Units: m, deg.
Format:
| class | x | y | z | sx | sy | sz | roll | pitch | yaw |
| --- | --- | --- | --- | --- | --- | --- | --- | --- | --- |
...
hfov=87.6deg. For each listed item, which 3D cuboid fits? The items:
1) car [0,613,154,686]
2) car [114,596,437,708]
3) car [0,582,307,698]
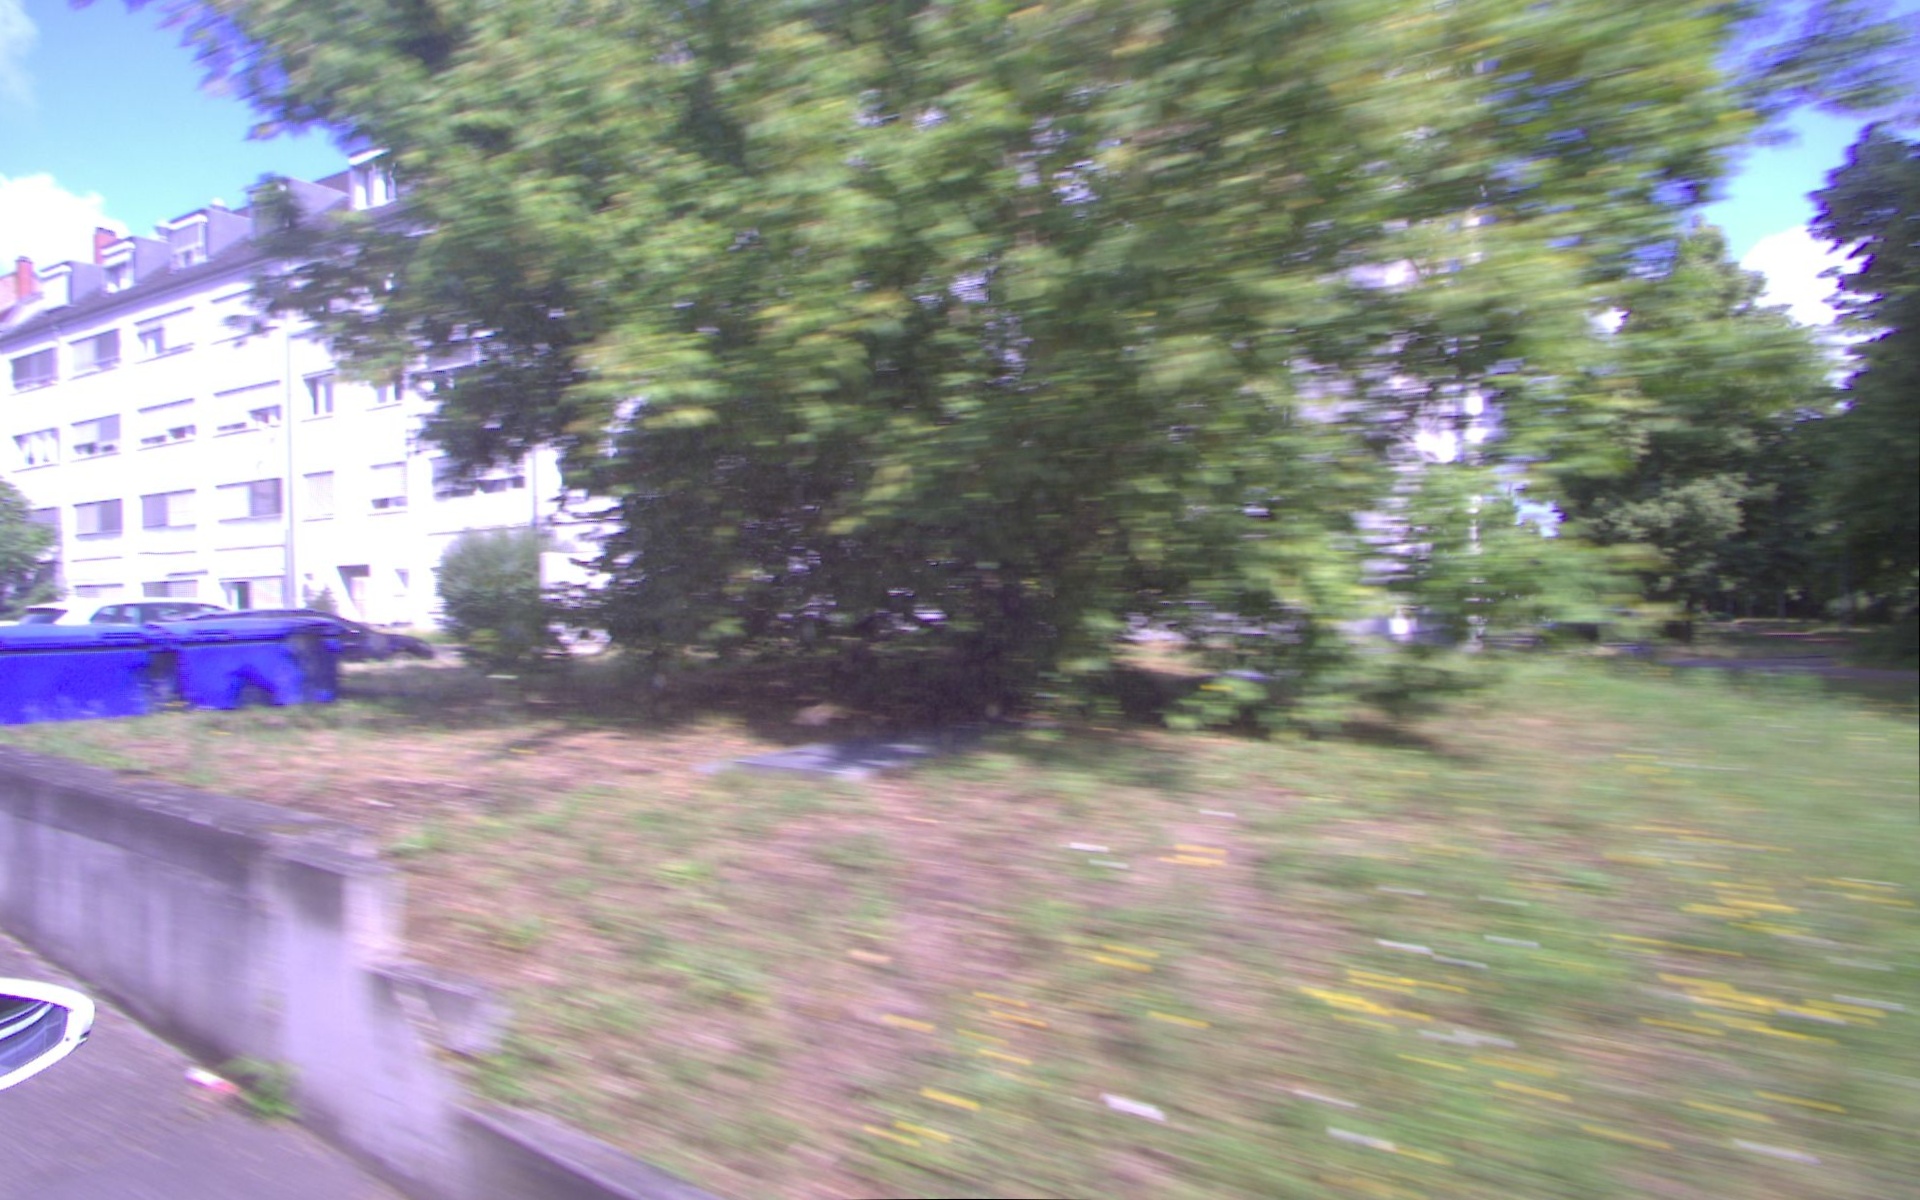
| class | x | y | z | sx | sy | sz | roll | pitch | yaw |
| --- | --- | --- | --- | --- | --- | --- | --- | --- | --- |
| car | -20.284 | 1.044 | 21.780 | 1.603 | 1.464 | 3.984 | 1 | 0 | 28 |
| car | -11.241 | 0.893 | 16.785 | 1.728 | 1.626 | 4.113 | -1 | -4 | 28 |
| car | -13.971 | 0.657 | 17.391 | 1.919 | 1.768 | 3.984 | 0 | -1 | 28 |
